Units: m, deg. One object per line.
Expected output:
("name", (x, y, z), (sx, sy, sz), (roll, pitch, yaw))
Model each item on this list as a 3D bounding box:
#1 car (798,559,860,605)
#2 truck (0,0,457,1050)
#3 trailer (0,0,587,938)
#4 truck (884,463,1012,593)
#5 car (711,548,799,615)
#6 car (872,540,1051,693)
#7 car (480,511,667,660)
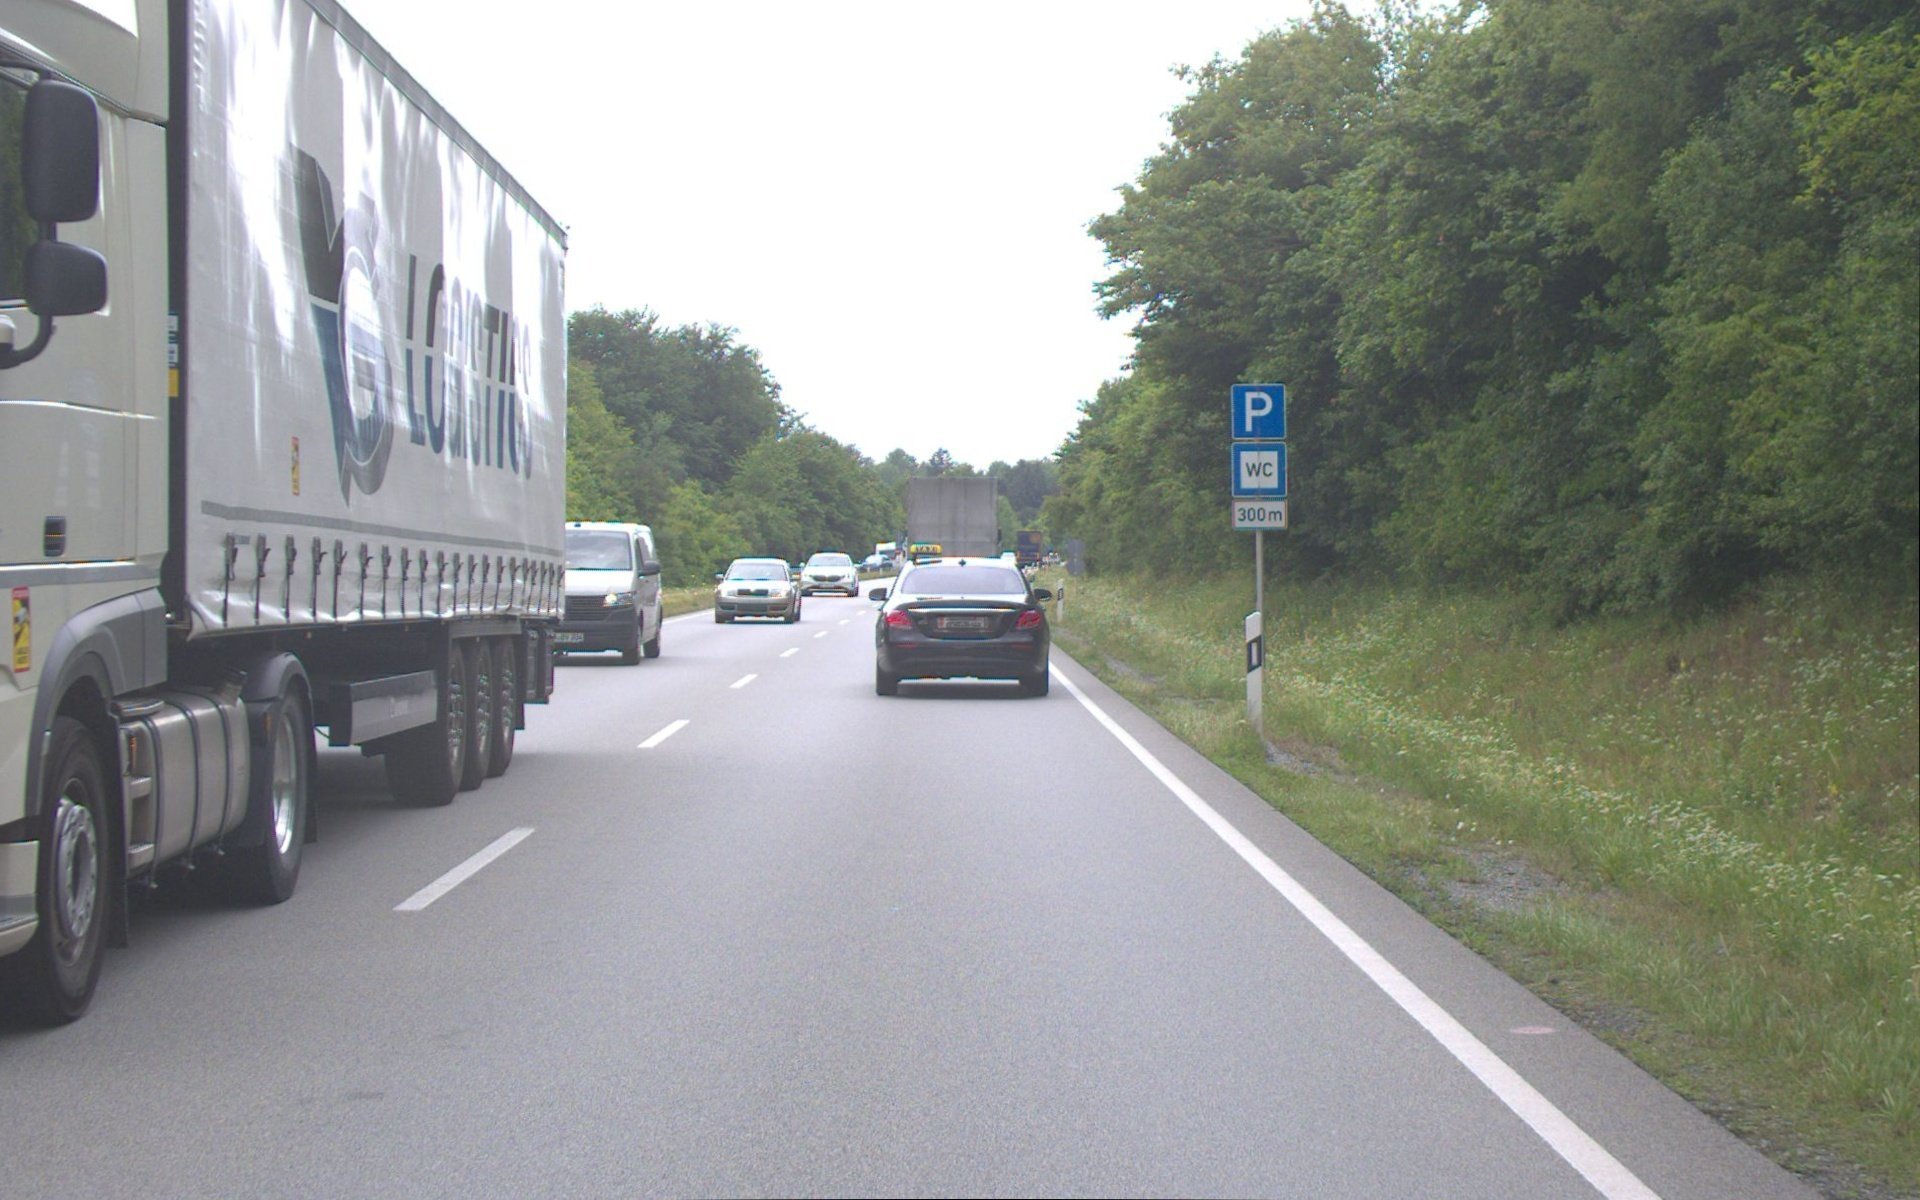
("car", (-4.643, -0.645, 122.328), (1.964, 1.568, 5.452), (1, 1, 0))
("truck", (-4.351, -0.816, 14.228), (3.189, 4.048, 9.576), (1, 1, -1))
("trailer", (-4.415, -0.936, 19.248), (3.203, 4.053, 14.273), (1, 1, -1))
("truck", (-0.252, -2.069, 102.168), (3.281, 3.599, 11.399), (1, 1, 2))
("car", (-4.541, -0.429, 76.702), (1.725, 1.429, 4.503), (1, 1, -1))
("car", (-0.036, 0.149, 37.231), (1.791, 1.547, 4.000), (1, 1, -2))
("car", (-5.338, -0.223, 48.226), (1.993, 1.933, 5.811), (1, 1, 0))
